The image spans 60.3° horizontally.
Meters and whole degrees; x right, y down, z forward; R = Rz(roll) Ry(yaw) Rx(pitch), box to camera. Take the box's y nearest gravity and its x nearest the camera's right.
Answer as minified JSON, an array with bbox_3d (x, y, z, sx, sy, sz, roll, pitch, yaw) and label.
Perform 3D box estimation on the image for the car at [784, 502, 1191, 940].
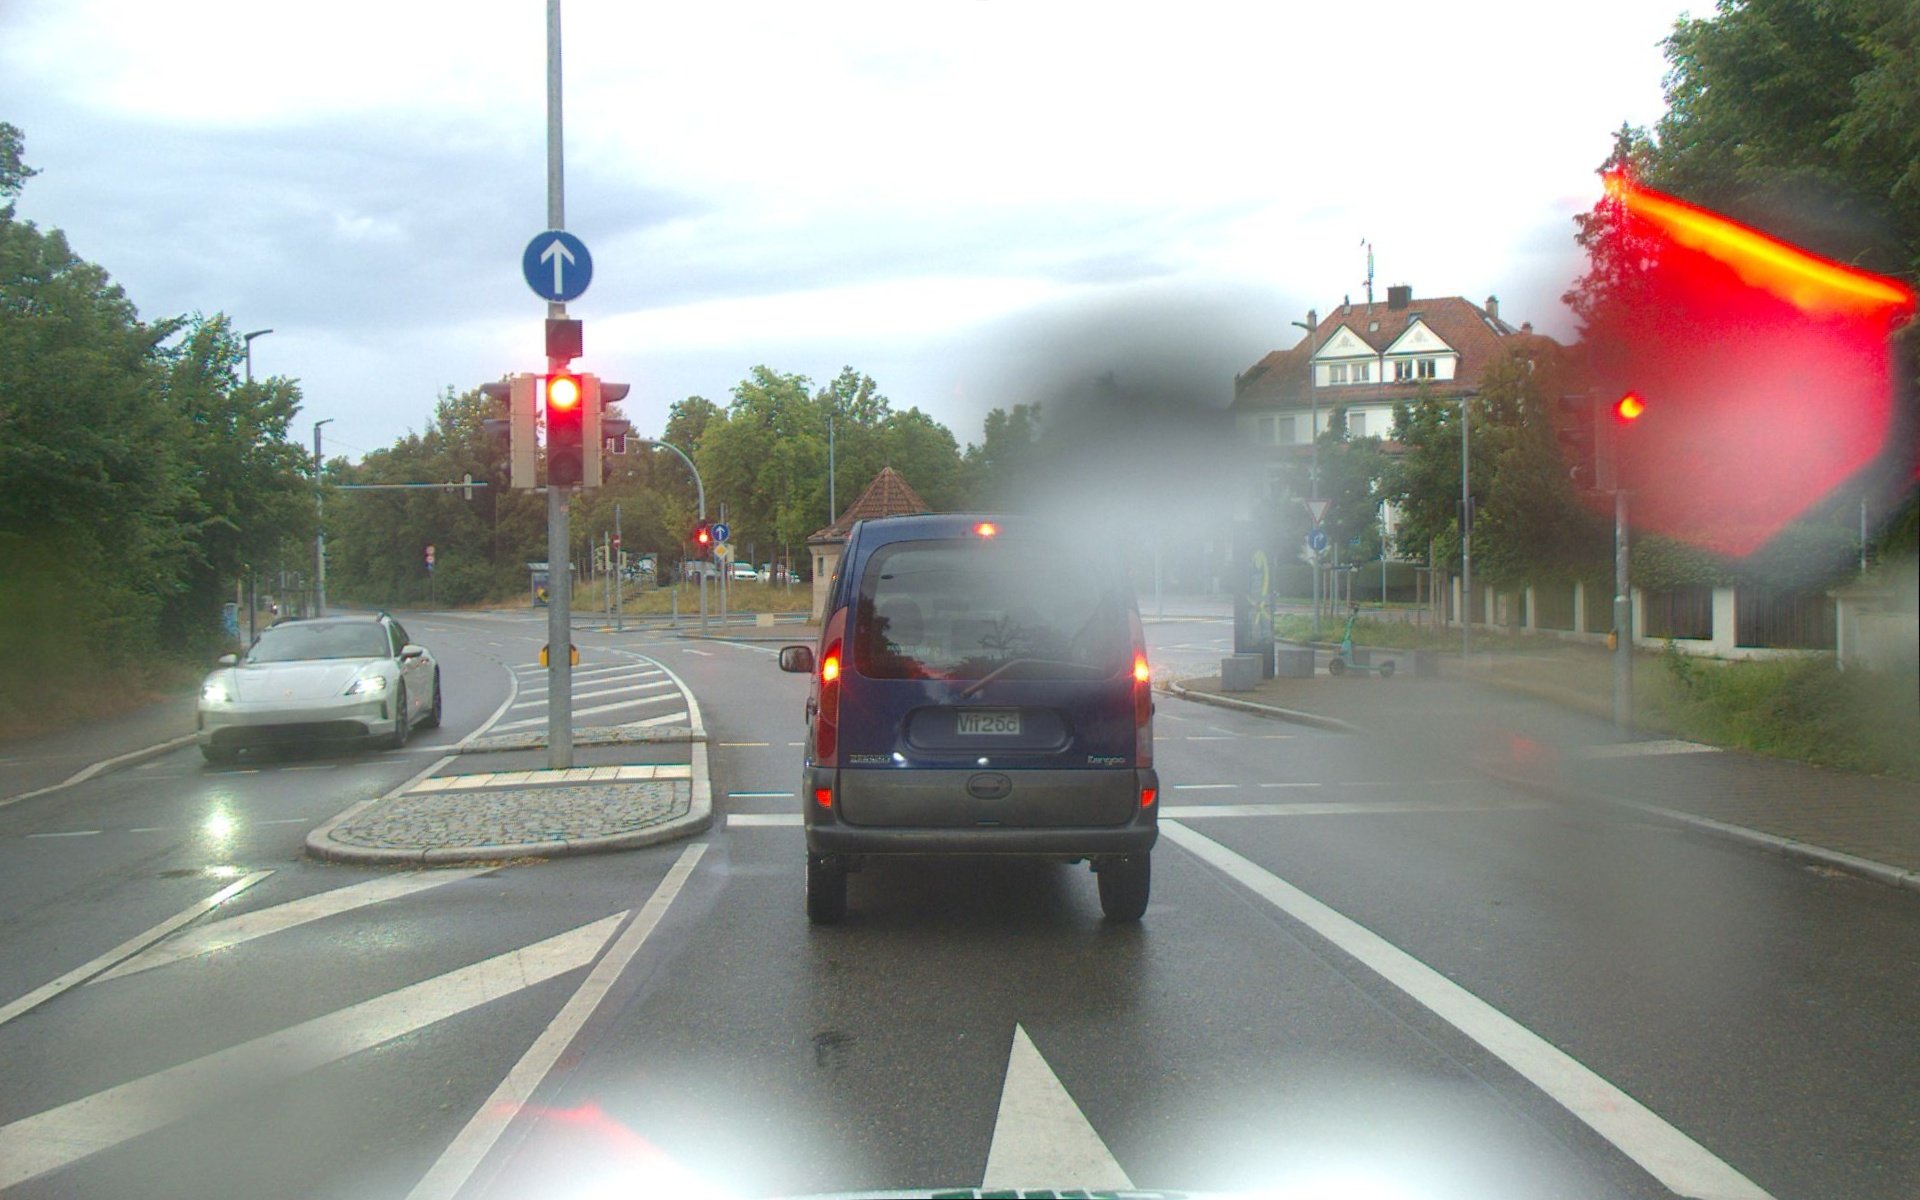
[{"bbox_3d":[0.030,0.488,8.902,1.697,1.817,3.998,0,0,-3],"label":"car"}]

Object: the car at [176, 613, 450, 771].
[{"bbox_3d":[-6.926,0.903,18.198,1.958,1.334,4.348,-3,1,-11],"label":"car"}]

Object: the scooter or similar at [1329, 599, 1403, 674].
[{"bbox_3d":[6.836,0.618,27.876,1.125,1.240,0.405,-1,-1,-2],"label":"scooter or similar"}]

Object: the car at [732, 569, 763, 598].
[{"bbox_3d":[-14.079,-1.083,109.641,1.955,1.844,3.994,0,-1,-7],"label":"car"}]

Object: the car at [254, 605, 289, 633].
[{"bbox_3d":[-51.356,1.411,123.379,1.972,2.049,3.961,0,-1,-29],"label":"car"}]
